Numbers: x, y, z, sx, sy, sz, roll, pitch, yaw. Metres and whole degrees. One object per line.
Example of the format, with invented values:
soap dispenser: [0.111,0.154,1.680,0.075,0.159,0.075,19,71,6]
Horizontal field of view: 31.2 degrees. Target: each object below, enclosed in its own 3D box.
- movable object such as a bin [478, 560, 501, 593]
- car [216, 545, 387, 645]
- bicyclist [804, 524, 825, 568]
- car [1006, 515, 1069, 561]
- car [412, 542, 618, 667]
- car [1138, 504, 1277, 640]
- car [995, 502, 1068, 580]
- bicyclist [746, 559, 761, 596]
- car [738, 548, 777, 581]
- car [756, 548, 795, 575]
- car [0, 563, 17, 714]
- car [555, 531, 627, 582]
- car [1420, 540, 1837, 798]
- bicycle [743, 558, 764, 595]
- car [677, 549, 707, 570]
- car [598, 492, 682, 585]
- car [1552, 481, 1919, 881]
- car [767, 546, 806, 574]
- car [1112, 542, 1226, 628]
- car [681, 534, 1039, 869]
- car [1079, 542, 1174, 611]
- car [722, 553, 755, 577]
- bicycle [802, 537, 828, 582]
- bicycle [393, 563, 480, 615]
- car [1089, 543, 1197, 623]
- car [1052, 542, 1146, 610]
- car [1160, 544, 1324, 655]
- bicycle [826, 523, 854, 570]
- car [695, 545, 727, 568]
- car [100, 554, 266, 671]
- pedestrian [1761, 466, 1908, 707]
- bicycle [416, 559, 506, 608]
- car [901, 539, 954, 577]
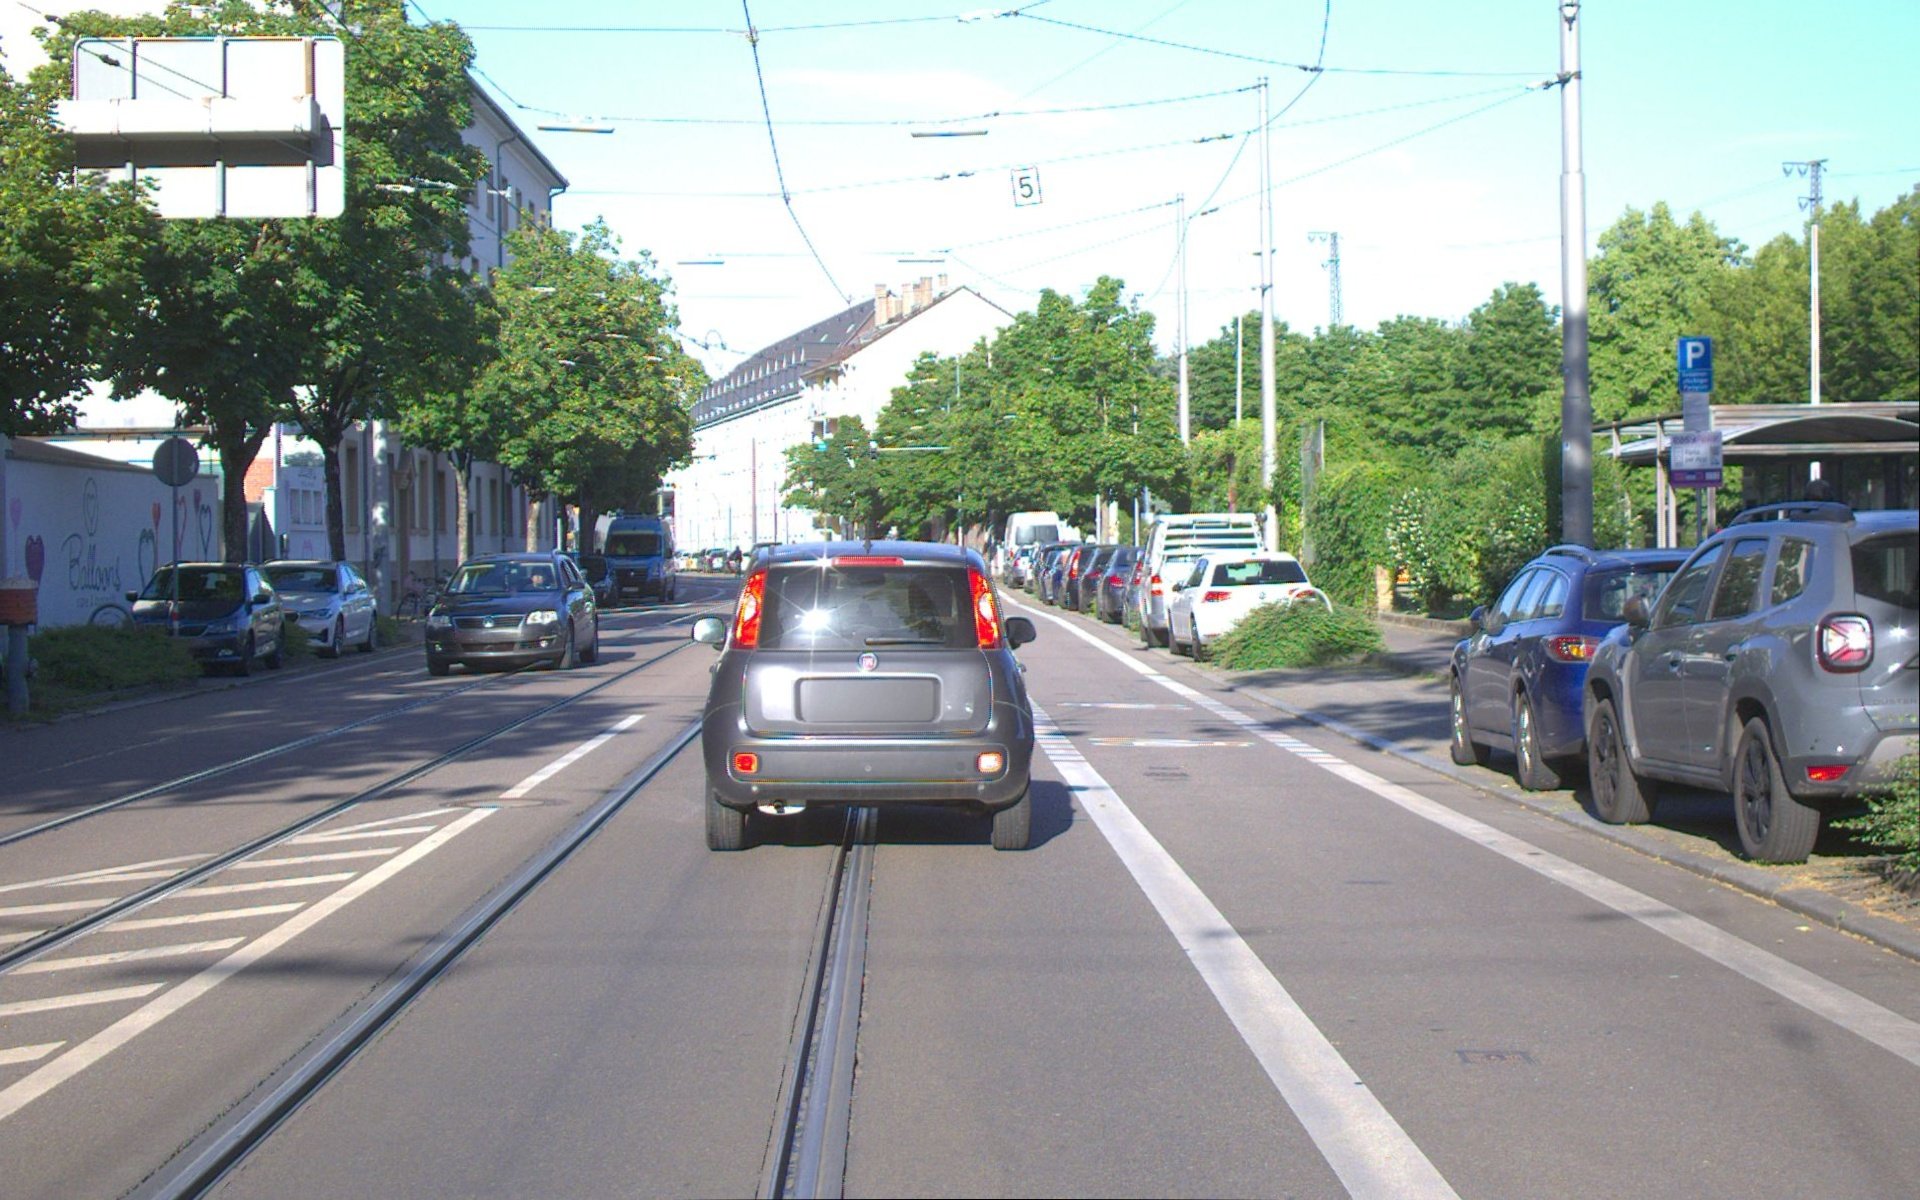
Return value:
movable object such as a bin: [-13.457,-0.675,98.400,0.596,0.931,0.569,-1,1,-3]
car: [-10.284,-0.100,53.988,1.864,1.485,4.662,1,1,-1]
bicyclist: [-5.798,-2.145,137.277,0.699,1.753,0.758,1,0,-12]
car: [2.649,-2.117,118.297,1.910,1.524,4.601,-1,1,-2]
car: [-5.552,0.032,43.476,1.766,1.458,4.747,-1,1,3]
car: [3.796,-0.441,53.425,1.854,1.984,5.242,-1,1,1]
car: [2.553,-2.129,125.053,2.180,2.656,6.092,-2,1,-2]
bicyclist: [-11.363,-1.236,189.130,0.715,2.007,0.832,1,0,-12]
car: [-12.121,-2.140,205.771,1.655,1.937,4.666,1,1,-11]
car: [-10.644,-2.224,198.175,1.655,1.566,3.877,1,1,-11]
car: [-9.990,0.366,30.925,1.873,1.424,4.293,1,1,-1]
car: [-10.686,-1.264,99.704,1.651,1.420,4.190,1,1,0]
car: [4.178,0.372,22.211,1.702,1.476,4.659,-1,1,-1]
bicycle: [-11.348,-1.312,188.991,0.741,2.007,2.812,1,1,-12]
car: [-18.383,-2.801,235.817,1.582,1.400,3.377,1,1,-12]
car: [-9.937,-1.892,107.169,2.017,2.816,6.032,1,1,0]
car: [4.277,0.332,16.882,1.741,1.706,4.278,1,1,-4]
car: [-9.774,-2.257,193.744,1.655,1.566,3.500,1,1,-11]
car: [3.728,-0.286,61.842,1.873,1.467,4.075,1,1,1]
car: [-0.504,0.446,18.160,1.650,1.536,4.235,-1,1,-1]
car: [3.598,-0.515,75.081,1.824,1.447,4.642,-1,1,0]
car: [-13.748,-2.179,213.164,1.655,1.495,3.130,1,1,-11]
bicycle: [-5.785,-1.614,137.206,0.675,1.741,2.158,1,0,-12]
bicycle: [-10.608,-0.227,69.710,0.668,1.036,1.783,1,1,37]
car: [3.520,-0.348,66.739,1.824,1.479,4.601,1,1,0]
car: [3.249,-0.575,80.972,1.824,1.487,3.815,-2,1,-3]
car: [3.887,-0.031,48.025,1.675,1.413,4.503,-2,1,-3]
bicycle: [-4.508,-2.011,128.573,0.675,1.741,2.158,1,0,-12]
car: [-16.209,-2.850,223.499,1.582,1.400,3.377,-4,1,-12]
car: [-10.426,0.136,46.358,1.772,1.481,4.306,1,1,-7]
pedestrian: [6.791,-0.107,26.751,0.671,1.783,1.304,-4,1,-1]
bicycle: [-10.624,-0.350,73.290,0.532,1.036,1.982,1,1,44]
car: [-1.380,-1.775,144.126,1.688,1.525,4.001,-2,1,-8]
